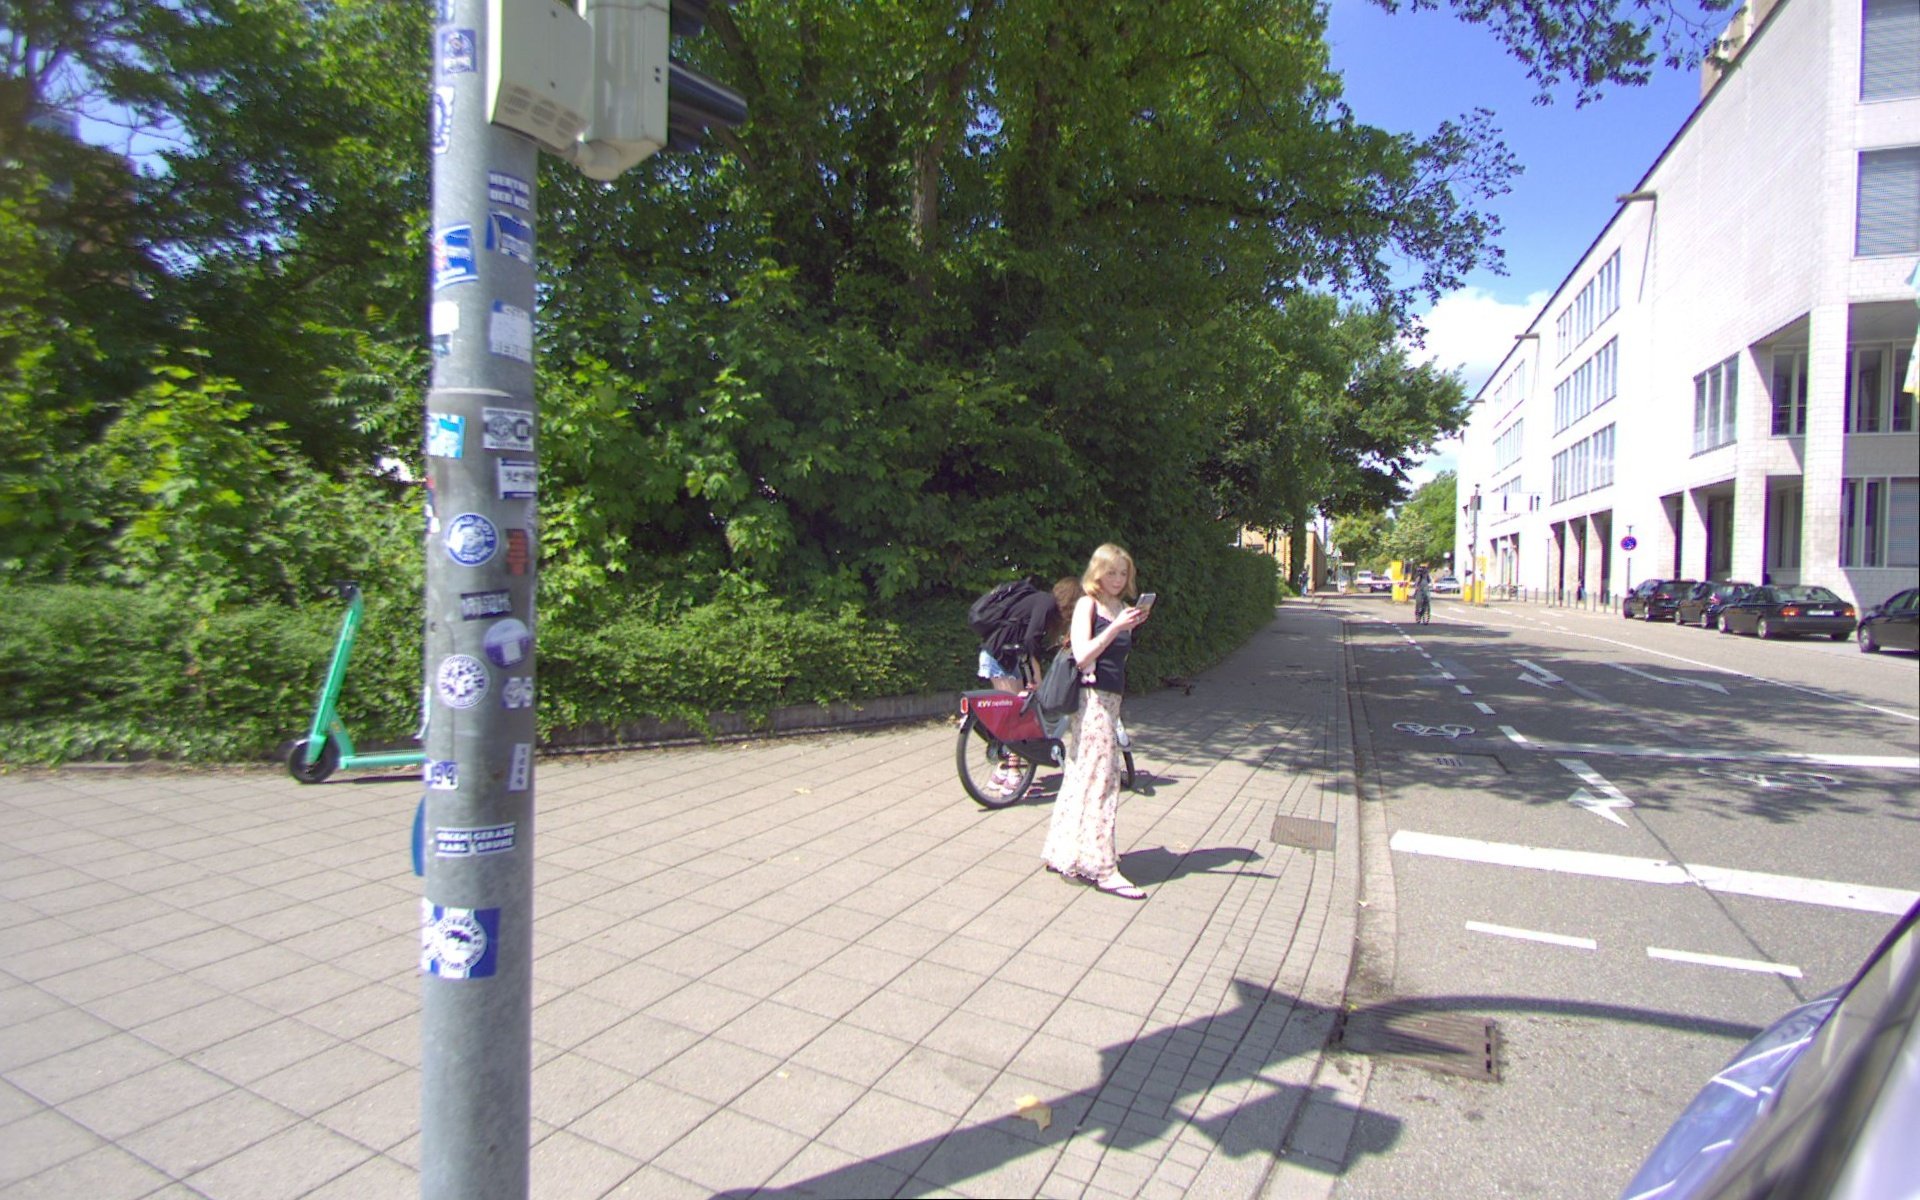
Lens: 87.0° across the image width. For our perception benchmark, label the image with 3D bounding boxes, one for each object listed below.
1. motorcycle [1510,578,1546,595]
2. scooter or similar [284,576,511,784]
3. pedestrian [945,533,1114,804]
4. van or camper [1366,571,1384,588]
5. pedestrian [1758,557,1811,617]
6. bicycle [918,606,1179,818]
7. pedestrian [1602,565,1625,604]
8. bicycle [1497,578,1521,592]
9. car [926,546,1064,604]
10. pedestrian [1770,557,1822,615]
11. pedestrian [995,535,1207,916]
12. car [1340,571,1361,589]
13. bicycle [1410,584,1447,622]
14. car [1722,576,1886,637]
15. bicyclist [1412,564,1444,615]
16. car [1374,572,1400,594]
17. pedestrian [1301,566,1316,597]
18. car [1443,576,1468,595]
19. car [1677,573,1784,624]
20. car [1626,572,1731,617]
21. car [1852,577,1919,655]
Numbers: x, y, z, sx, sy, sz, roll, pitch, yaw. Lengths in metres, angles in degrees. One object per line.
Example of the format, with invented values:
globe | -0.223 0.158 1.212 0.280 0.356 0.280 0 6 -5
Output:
motorcycle | 41.738 -1.011 74.344 2.139 1.152 0.772 1 1 12
scooter or similar | -3.331 0.447 6.050 1.154 1.161 0.287 0 1 -29
pedestrian | 0.440 0.393 6.525 0.720 1.594 0.726 0 4 -41
van or camper | 60.202 -2.923 146.807 1.981 2.391 4.342 2 2 27
pedestrian | 28.899 -0.471 35.461 0.968 2.038 1.166 0 1 -33
bicycle | 0.606 0.636 6.471 1.712 1.140 0.593 0 4 -41
pedestrian | 34.258 -0.834 53.073 0.850 2.038 0.874 1 1 24
bicycle | 44.920 -1.219 82.876 1.621 1.100 0.605 0 1 17
car | 1.328 -0.976 38.045 4.785 2.038 2.047 2 2 23
pedestrian | 30.099 -0.519 36.432 0.968 2.038 1.166 0 1 -33
pedestrian | 0.682 0.515 4.781 0.726 1.595 0.769 3 2 26
car | 37.310 -1.948 96.812 1.740 1.587 3.792 2 2 20
bicycle | 14.155 0.071 30.606 0.771 1.061 1.901 1 2 19
car | 21.749 0.114 26.340 1.844 1.395 4.979 -1 1 23
bicyclist | 14.172 -0.314 30.639 0.771 1.505 0.691 1 1 20
car | 37.098 -1.502 88.047 1.977 1.838 3.971 2 2 22
pedestrian | 19.389 -1.057 56.290 0.732 1.695 1.249 1 1 18
car | 45.358 -1.355 92.684 1.711 1.554 4.376 -1 2 21
car | 23.858 -0.082 31.470 1.624 1.485 3.682 -1 1 21
car | 25.176 -0.228 35.641 1.843 1.485 4.687 -1 1 21
car | 19.822 0.297 20.210 1.733 1.485 4.165 -1 1 23
